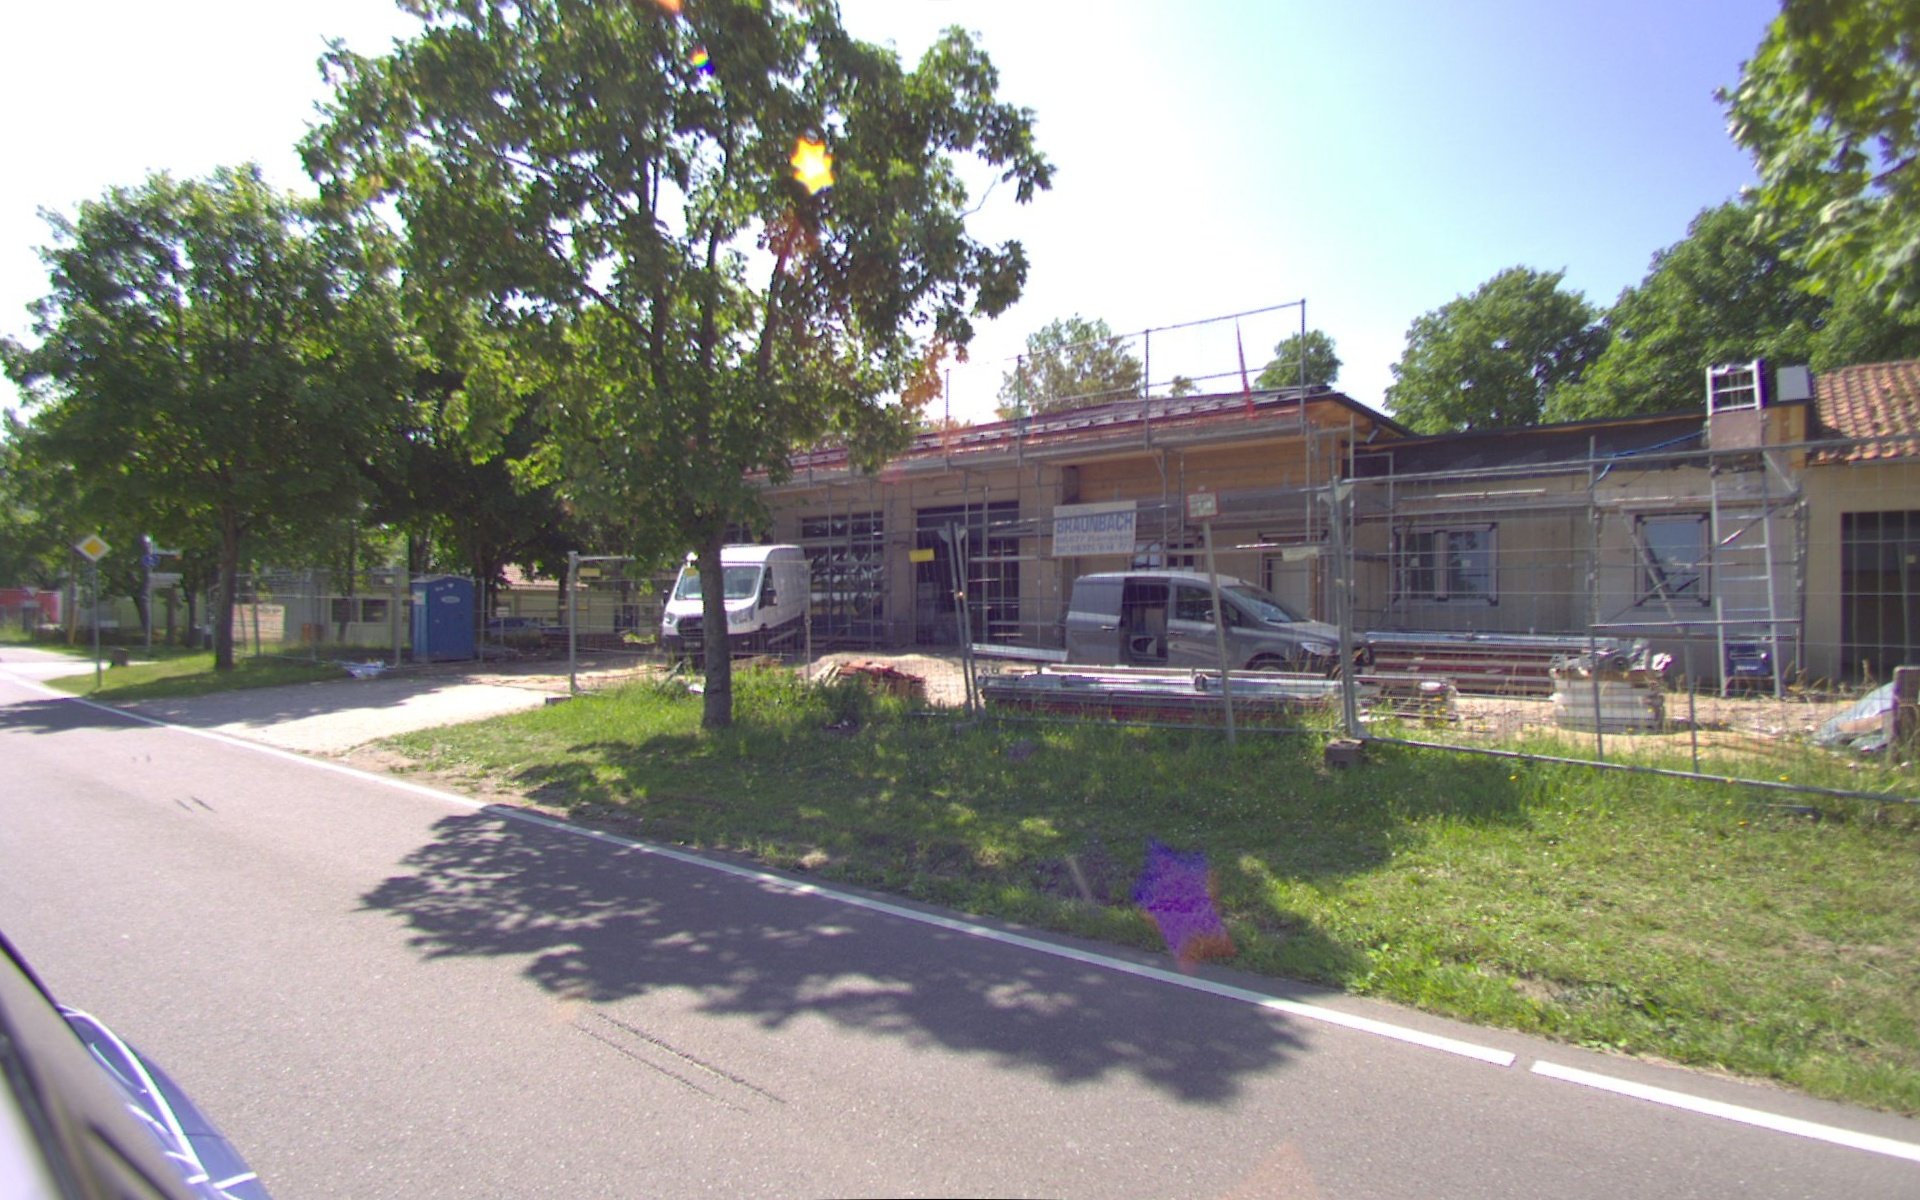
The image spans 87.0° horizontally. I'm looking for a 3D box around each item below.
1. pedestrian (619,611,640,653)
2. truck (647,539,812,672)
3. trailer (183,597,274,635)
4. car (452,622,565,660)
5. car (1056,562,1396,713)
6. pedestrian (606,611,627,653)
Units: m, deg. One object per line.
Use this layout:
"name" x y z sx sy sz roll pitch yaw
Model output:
"pedestrian" -13.818 1.337 42.352 0.584 1.764 0.599 -1 -2 31
"truck" -4.798 0.079 22.099 1.974 2.502 5.927 -1 0 3
"trailer" -45.521 1.011 63.069 1.819 2.295 4.199 0 -2 26
"car" -17.971 1.609 40.408 1.754 1.410 3.770 -1 -2 32
"car" 3.726 0.484 14.579 4.324 1.852 1.951 -1 -1 40
"pedestrian" -14.526 1.342 42.773 0.584 1.764 0.599 -1 -2 31
